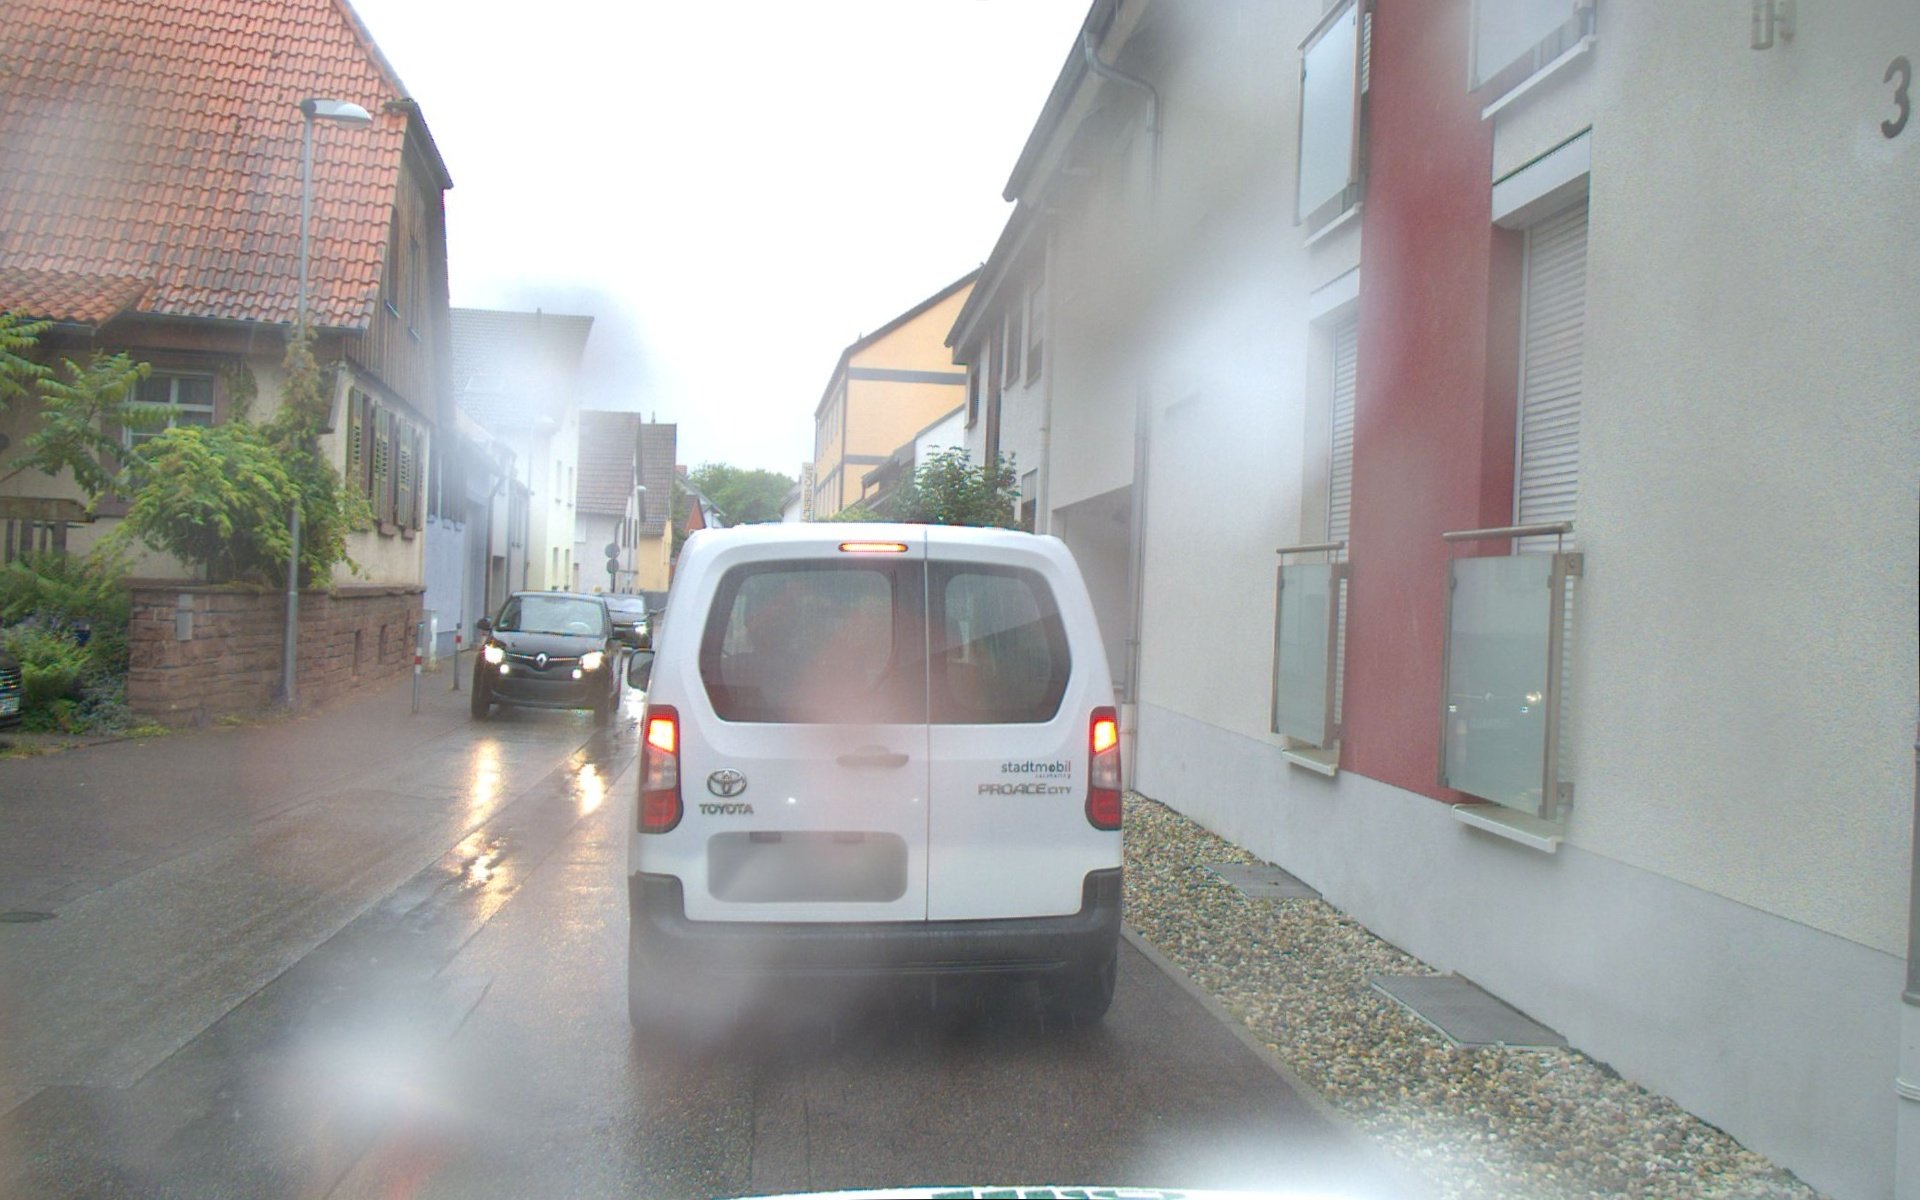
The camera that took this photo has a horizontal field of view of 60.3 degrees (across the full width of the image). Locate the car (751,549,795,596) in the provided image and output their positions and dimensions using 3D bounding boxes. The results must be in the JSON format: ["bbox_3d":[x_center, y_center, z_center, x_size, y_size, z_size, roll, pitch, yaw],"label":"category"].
[{"bbox_3d":[-8.581,-1.229,76.197,1.955,2.049,3.995,1,0,-6],"label":"car"}]

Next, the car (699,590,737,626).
[{"bbox_3d":[-10.661,0.345,72.612,1.532,1.503,3.990,1,0,-10],"label":"car"}]

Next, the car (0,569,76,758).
[{"bbox_3d":[-9.414,0.289,12.935,3.908,1.450,1.735,7,-1,-1],"label":"car"}]

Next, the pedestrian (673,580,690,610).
[{"bbox_3d":[-17.918,-0.306,106.291,1.031,1.926,0.875,1,-1,-9],"label":"pedestrian"}]

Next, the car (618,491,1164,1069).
[{"bbox_3d":[-0.507,0.582,7.308,1.742,1.811,3.991,1,0,-9],"label":"car"}]

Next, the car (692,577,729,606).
[{"bbox_3d":[-12.607,-0.428,83.493,1.747,1.419,3.990,1,0,-10],"label":"car"}]

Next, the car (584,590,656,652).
[{"bbox_3d":[-9.523,0.564,46.588,1.799,1.583,4.229,3,0,-10],"label":"car"}]

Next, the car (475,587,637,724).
[{"bbox_3d":[-5.048,0.649,21.067,1.574,1.539,3.681,2,0,-8],"label":"car"}]
